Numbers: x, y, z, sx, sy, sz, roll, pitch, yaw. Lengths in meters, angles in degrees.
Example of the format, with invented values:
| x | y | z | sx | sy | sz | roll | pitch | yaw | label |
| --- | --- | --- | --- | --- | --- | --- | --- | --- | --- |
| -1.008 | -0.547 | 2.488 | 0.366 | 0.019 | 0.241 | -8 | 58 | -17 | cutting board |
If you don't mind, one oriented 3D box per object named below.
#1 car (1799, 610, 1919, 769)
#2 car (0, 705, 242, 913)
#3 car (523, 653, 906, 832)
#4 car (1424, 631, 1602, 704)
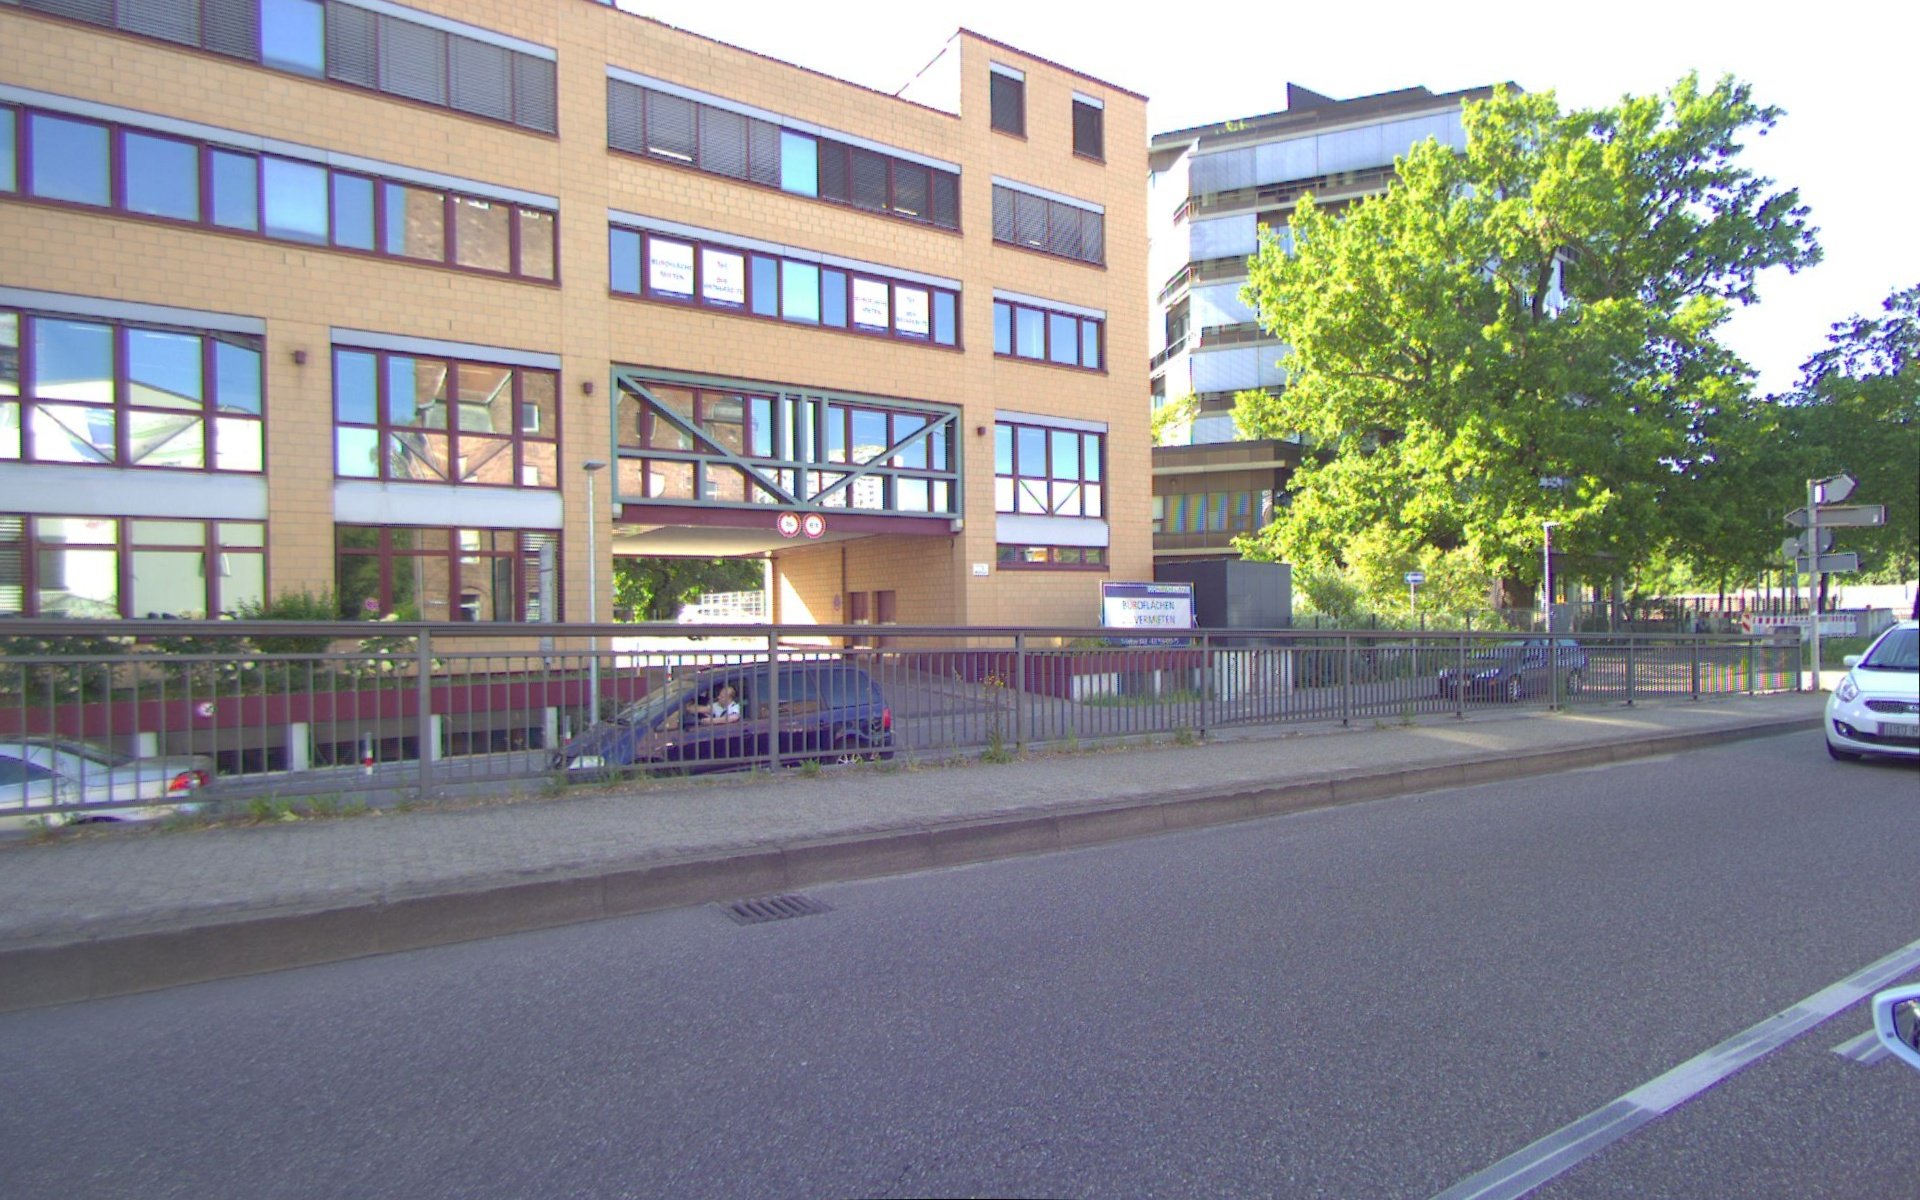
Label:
| x | y | z | sx | sy | sz | roll | pitch | yaw | label |
| --- | --- | --- | --- | --- | --- | --- | --- | --- | --- |
| 11.407 | 0.946 | 11.431 | 3.957 | 1.625 | 1.809 | 1 | -1 | -33 | car |
| -9.406 | 1.976 | 9.362 | 4.310 | 1.625 | 1.809 | 0 | -1 | -34 | car |
| -3.190 | 1.718 | 13.468 | 4.640 | 1.781 | 1.938 | 0 | 0 | -35 | car |
| 13.539 | 1.583 | 24.549 | 4.398 | 1.523 | 1.811 | -1 | -1 | -30 | car |
